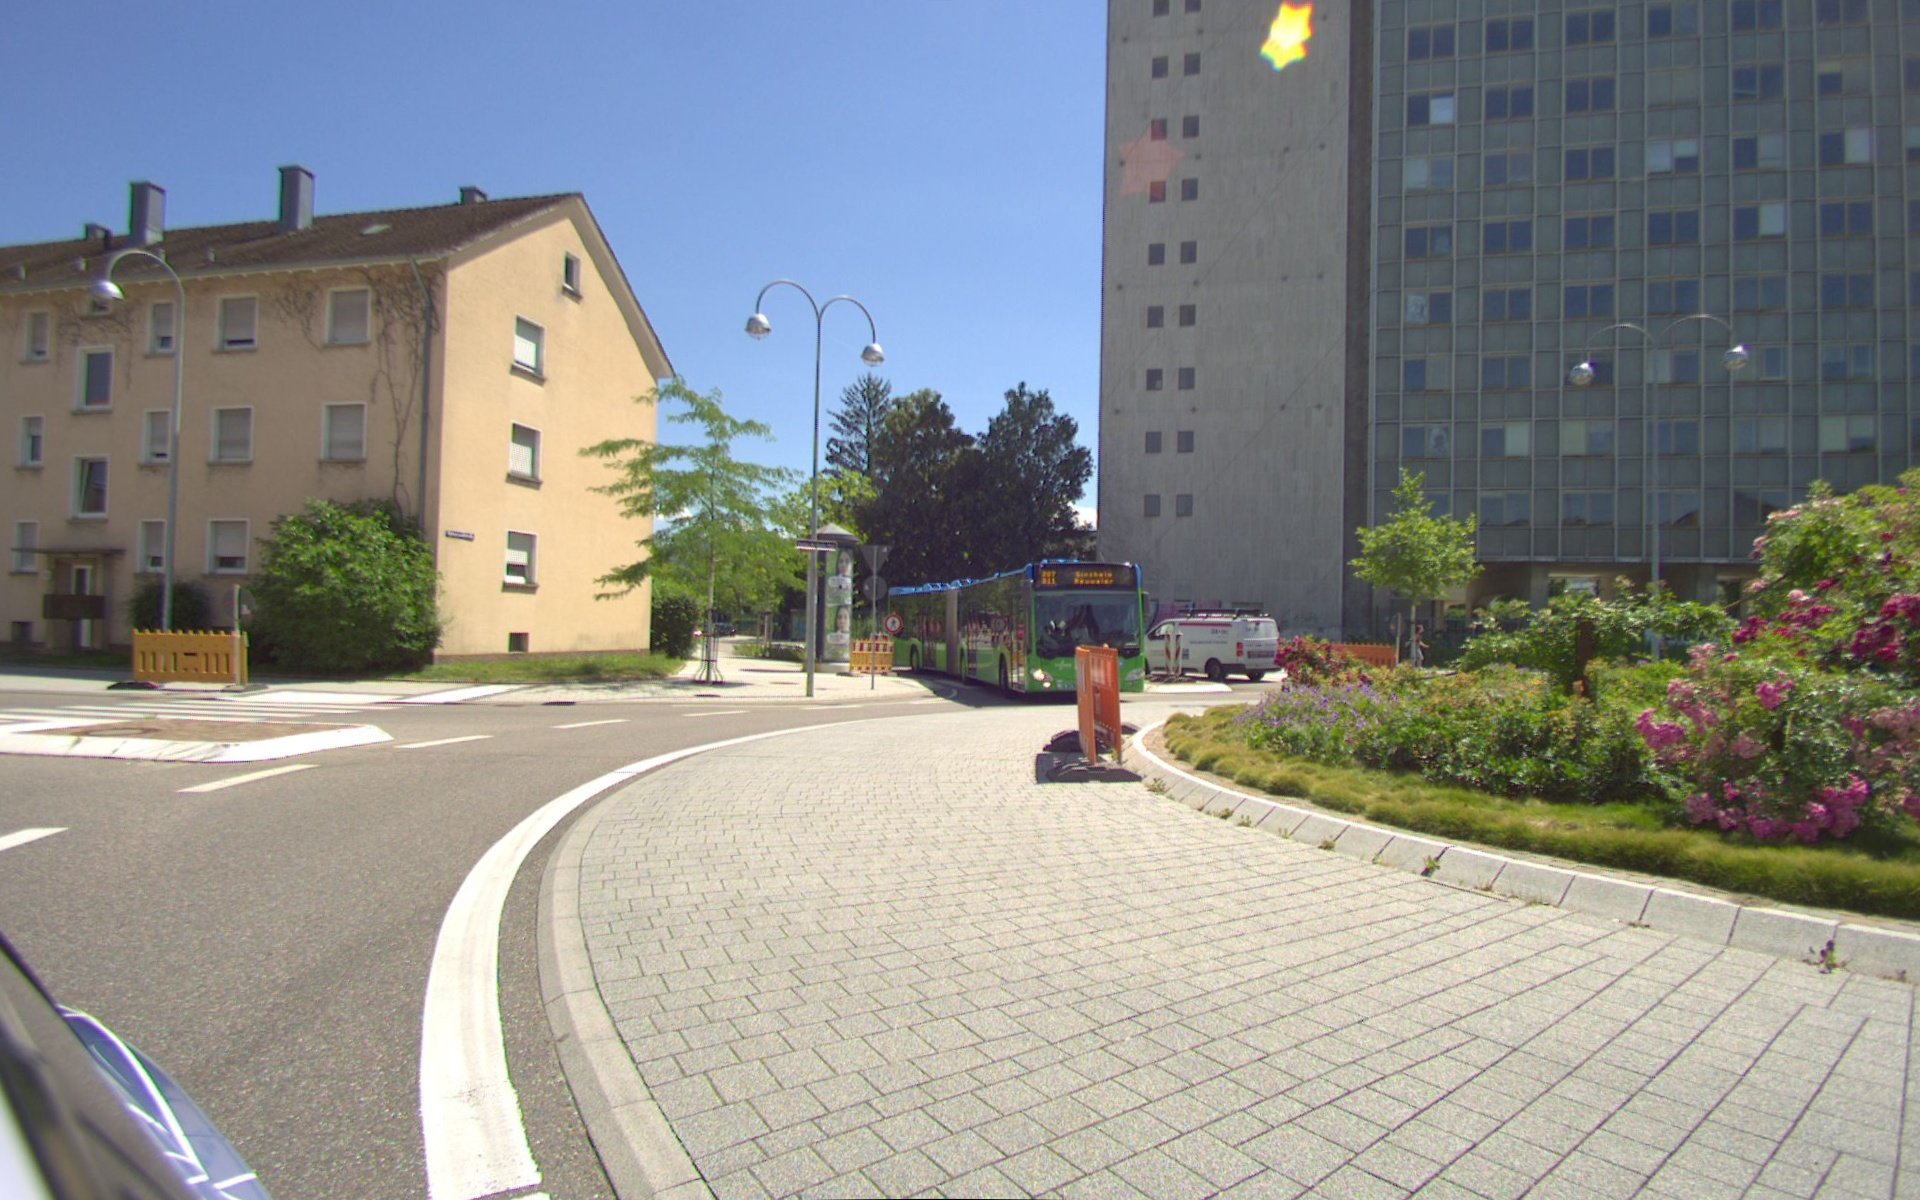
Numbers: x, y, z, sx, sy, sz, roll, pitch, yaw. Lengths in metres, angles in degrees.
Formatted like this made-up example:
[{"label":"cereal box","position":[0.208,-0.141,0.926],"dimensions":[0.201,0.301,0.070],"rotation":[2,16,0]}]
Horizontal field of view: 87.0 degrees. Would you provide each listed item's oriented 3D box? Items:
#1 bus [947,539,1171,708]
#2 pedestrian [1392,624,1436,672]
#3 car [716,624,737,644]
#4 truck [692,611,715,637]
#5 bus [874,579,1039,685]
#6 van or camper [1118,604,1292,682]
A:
[{"label":"bus","position":[1.927,0.604,25.199],"dimensions":[2.916,3.350,10.104],"rotation":[-1,-2,-10]},{"label":"pedestrian","position":[15.847,1.663,35.334],"dimensions":[1.278,1.597,0.938],"rotation":[0,-2,32]},{"label":"car","position":[-25.098,3.635,108.650],"dimensions":[1.966,2.029,4.012],"rotation":[2,-2,-16]},{"label":"truck","position":[-33.166,3.100,130.791],"dimensions":[2.449,3.204,8.474],"rotation":[2,-2,-16]},{"label":"bus","position":[-0.430,1.020,34.631],"dimensions":[2.781,3.134,8.951],"rotation":[0,-1,-20]},{"label":"van or camper","position":[7.427,1.333,31.363],"dimensions":[1.966,2.188,5.428],"rotation":[1,-3,-31]}]
